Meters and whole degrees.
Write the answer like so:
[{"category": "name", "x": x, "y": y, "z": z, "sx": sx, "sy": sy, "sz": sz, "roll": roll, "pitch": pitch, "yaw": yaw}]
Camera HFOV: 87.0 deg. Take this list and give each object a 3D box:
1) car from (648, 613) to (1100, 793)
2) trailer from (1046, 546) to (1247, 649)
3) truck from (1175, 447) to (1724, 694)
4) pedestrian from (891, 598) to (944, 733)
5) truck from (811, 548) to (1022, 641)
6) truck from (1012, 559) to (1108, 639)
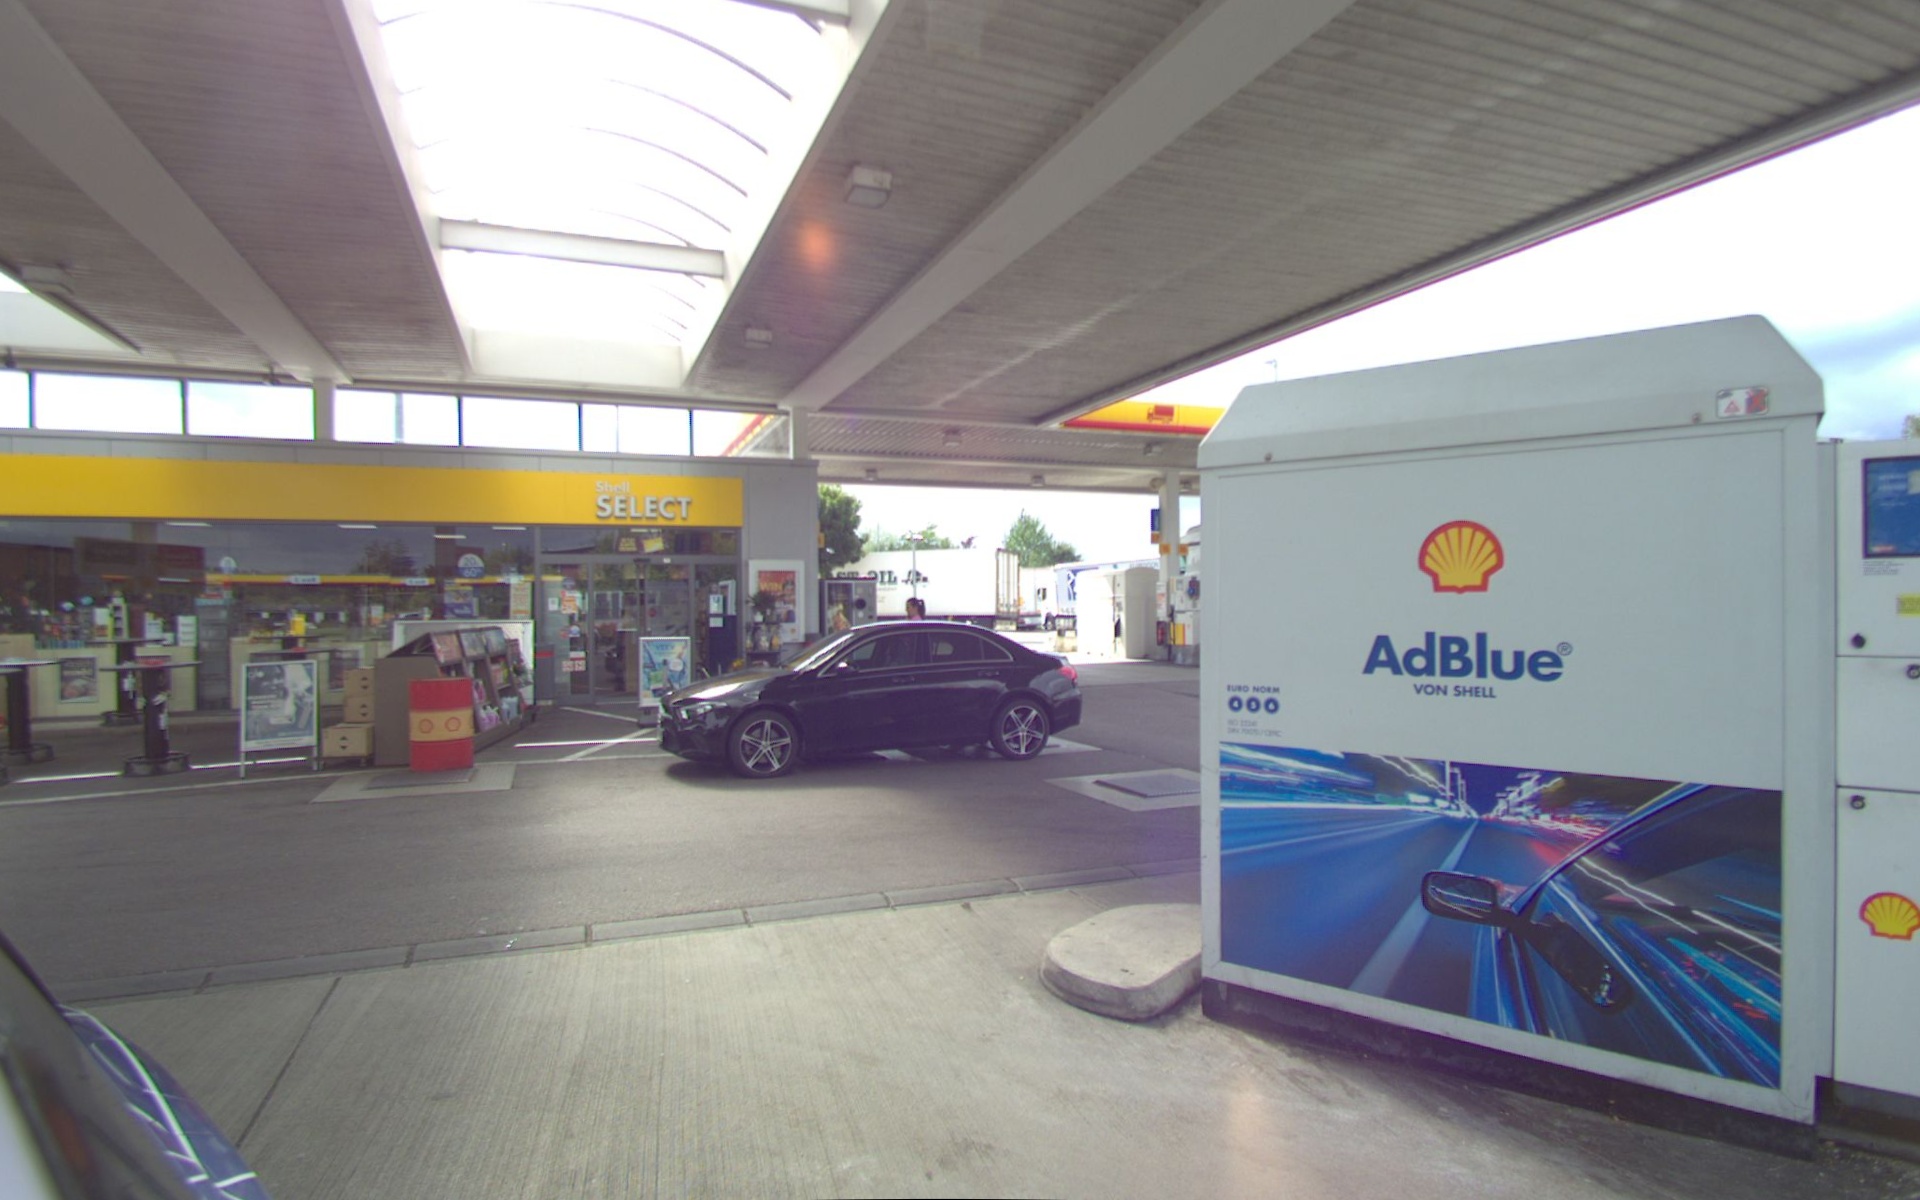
[{"category": "car", "x": -0.912, "y": 0.937, "z": 10.642, "sx": 4.394, "sy": 1.511, "sz": 1.785, "roll": -1, "pitch": 0, "yaw": -21}, {"category": "trailer", "x": 9.107, "y": -0.114, "z": 52.667, "sx": 3.294, "sy": 4.600, "sz": 14.397, "roll": -1, "pitch": 0, "yaw": -20}, {"category": "truck", "x": 9.660, "y": -0.473, "z": 23.095, "sx": 2.491, "sy": 4.069, "sz": 12.947, "roll": -1, "pitch": 0, "yaw": -22}, {"category": "pedestrian", "x": -0.565, "y": 0.836, "z": 13.278, "sx": 0.613, "sy": 1.726, "sz": 0.628, "roll": -1, "pitch": 0, "yaw": -7}, {"category": "truck", "x": -2.100, "y": -0.192, "z": 46.832, "sx": 9.536, "sy": 4.036, "sz": 2.772, "roll": -1, "pitch": 0, "yaw": 25}, {"category": "truck", "x": 5.930, "y": -0.064, "z": 61.215, "sx": 3.333, "sy": 4.538, "sz": 6.249, "roll": -1, "pitch": 0, "yaw": -20}]
